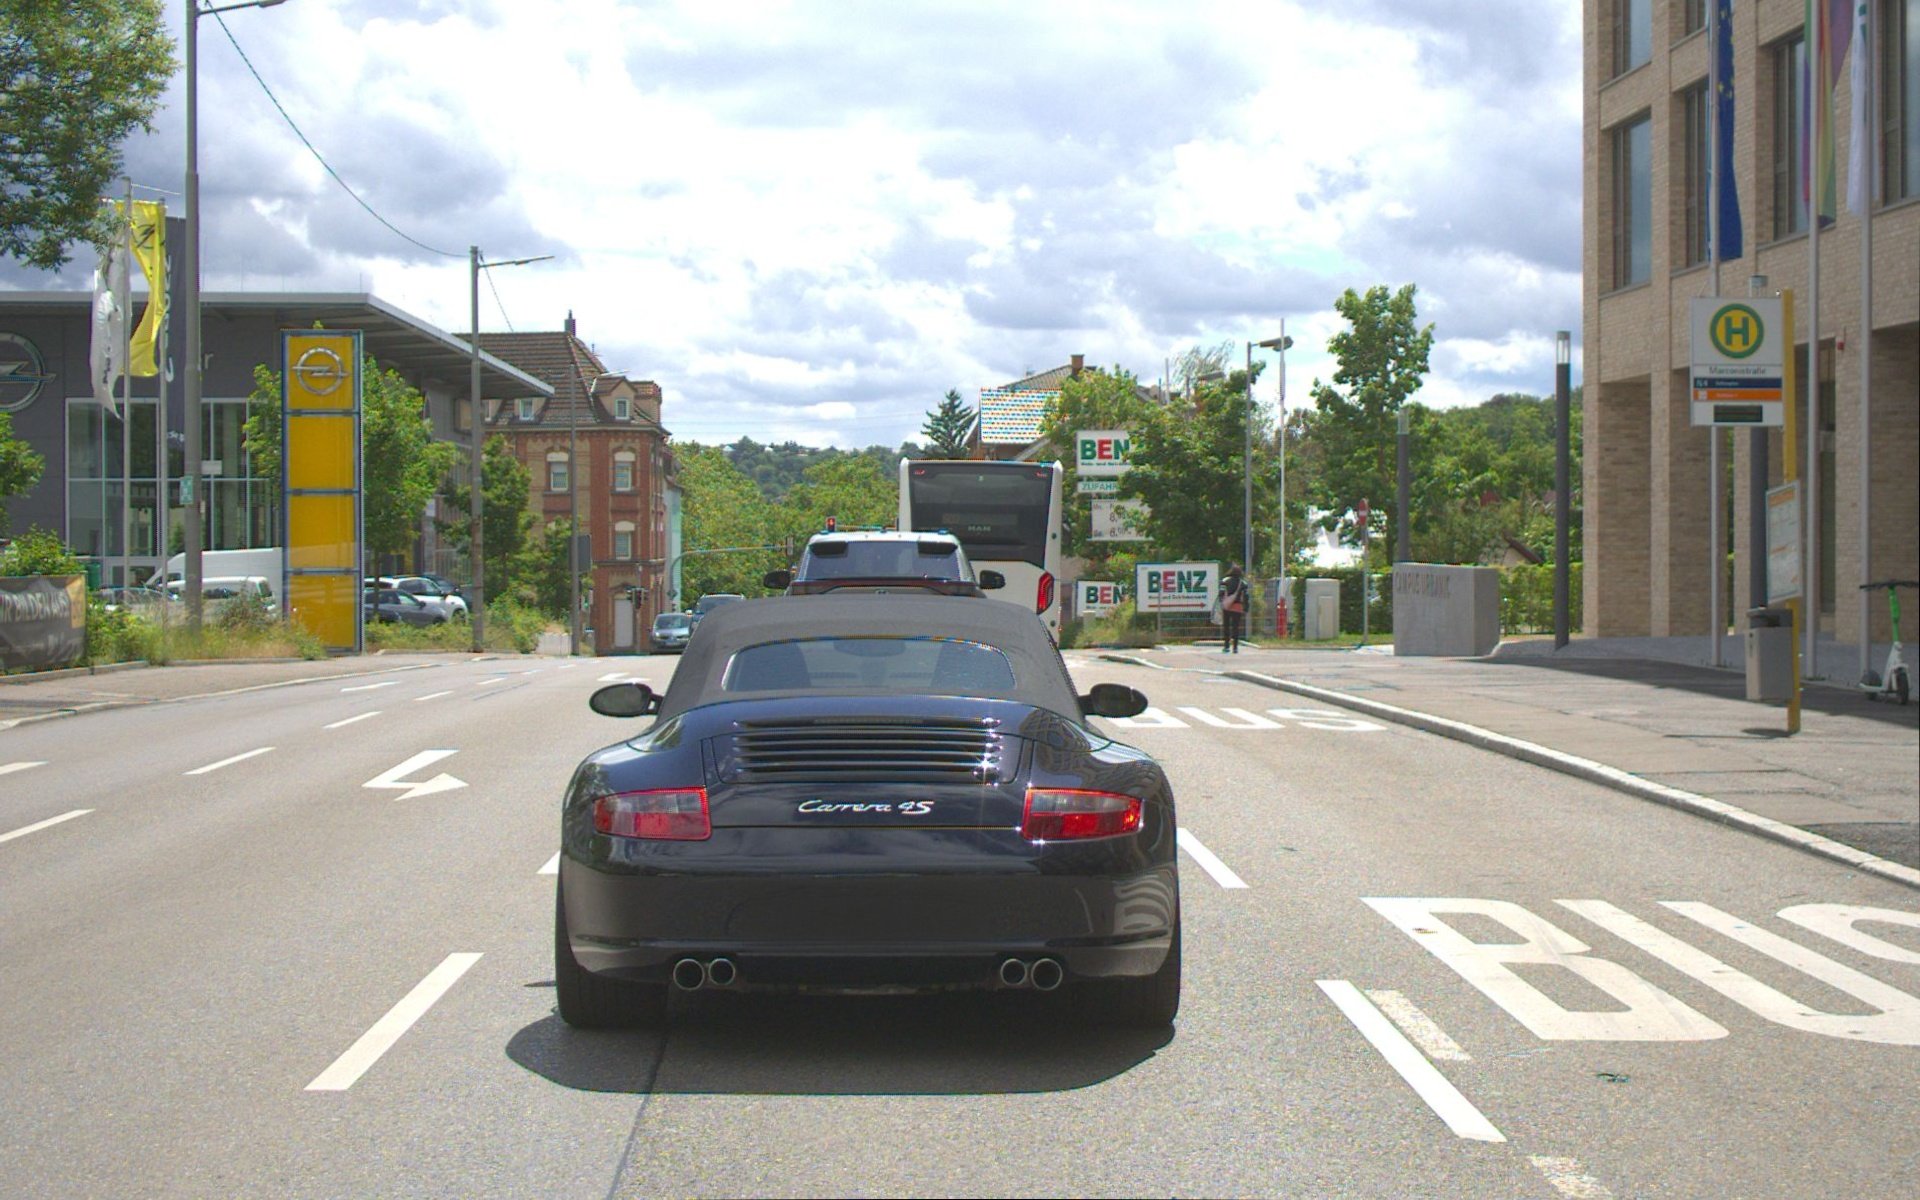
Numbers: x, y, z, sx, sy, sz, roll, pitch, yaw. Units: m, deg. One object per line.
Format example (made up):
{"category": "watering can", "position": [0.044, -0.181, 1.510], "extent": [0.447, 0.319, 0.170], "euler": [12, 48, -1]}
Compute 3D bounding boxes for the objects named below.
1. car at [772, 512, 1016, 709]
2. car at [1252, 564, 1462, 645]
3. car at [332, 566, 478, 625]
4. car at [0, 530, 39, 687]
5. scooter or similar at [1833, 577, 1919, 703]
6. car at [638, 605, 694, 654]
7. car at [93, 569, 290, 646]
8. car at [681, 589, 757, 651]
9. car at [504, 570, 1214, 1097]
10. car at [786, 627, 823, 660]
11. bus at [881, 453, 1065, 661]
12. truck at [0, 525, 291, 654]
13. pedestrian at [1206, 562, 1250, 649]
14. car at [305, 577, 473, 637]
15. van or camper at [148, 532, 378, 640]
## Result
{"category": "car", "position": [-0.642, 0.045, 29.751], "extent": [1.930, 1.577, 4.209], "euler": [0, 1, -4]}
{"category": "car", "position": [9.769, 0.124, 84.727], "extent": [4.706, 1.842, 2.089], "euler": [-2, -1, -9]}
{"category": "car", "position": [-15.336, -0.100, 95.284], "extent": [1.933, 1.567, 4.548], "euler": [-1, -1, 22]}
{"category": "car", "position": [-14.348, 0.088, 44.815], "extent": [4.160, 2.007, 2.199], "euler": [0, 1, -4]}
{"category": "scooter or similar", "position": [8.671, 0.366, 32.492], "extent": [0.427, 1.149, 1.404], "euler": [-1, 0, -2]}
{"category": "car", "position": [-10.305, 1.012, 120.663], "extent": [1.743, 1.590, 4.042], "euler": [-3, 0, -3]}
{"category": "car", "position": [-17.618, 0.153, 78.930], "extent": [3.987, 1.700, 2.000], "euler": [0, 1, 4]}
{"category": "car", "position": [-6.031, 0.506, 86.269], "extent": [1.829, 1.504, 4.277], "euler": [-1, -1, -3]}
{"category": "car", "position": [-0.294, 0.619, 11.465], "extent": [1.930, 1.372, 4.208], "euler": [0, 1, 0]}
{"category": "car", "position": [-7.981, 2.264, 176.705], "extent": [1.864, 1.660, 4.259], "euler": [0, -1, -2]}
{"category": "bus", "position": [0.381, -0.806, 58.792], "extent": [2.802, 3.187, 12.195], "euler": [0, 1, 2]}
{"category": "truck", "position": [-14.892, -0.166, 60.481], "extent": [5.860, 2.140, 2.477], "euler": [-1, -1, -4]}
{"category": "pedestrian", "position": [4.761, 0.095, 61.086], "extent": [0.687, 1.531, 0.856], "euler": [-1, 0, -2]}
{"category": "car", "position": [-14.954, 0.172, 90.230], "extent": [1.897, 1.445, 4.825], "euler": [1, 1, 26]}
{"category": "van or camper", "position": [-16.498, -0.354, 81.550], "extent": [5.026, 2.522, 2.318], "euler": [0, 1, -2]}
